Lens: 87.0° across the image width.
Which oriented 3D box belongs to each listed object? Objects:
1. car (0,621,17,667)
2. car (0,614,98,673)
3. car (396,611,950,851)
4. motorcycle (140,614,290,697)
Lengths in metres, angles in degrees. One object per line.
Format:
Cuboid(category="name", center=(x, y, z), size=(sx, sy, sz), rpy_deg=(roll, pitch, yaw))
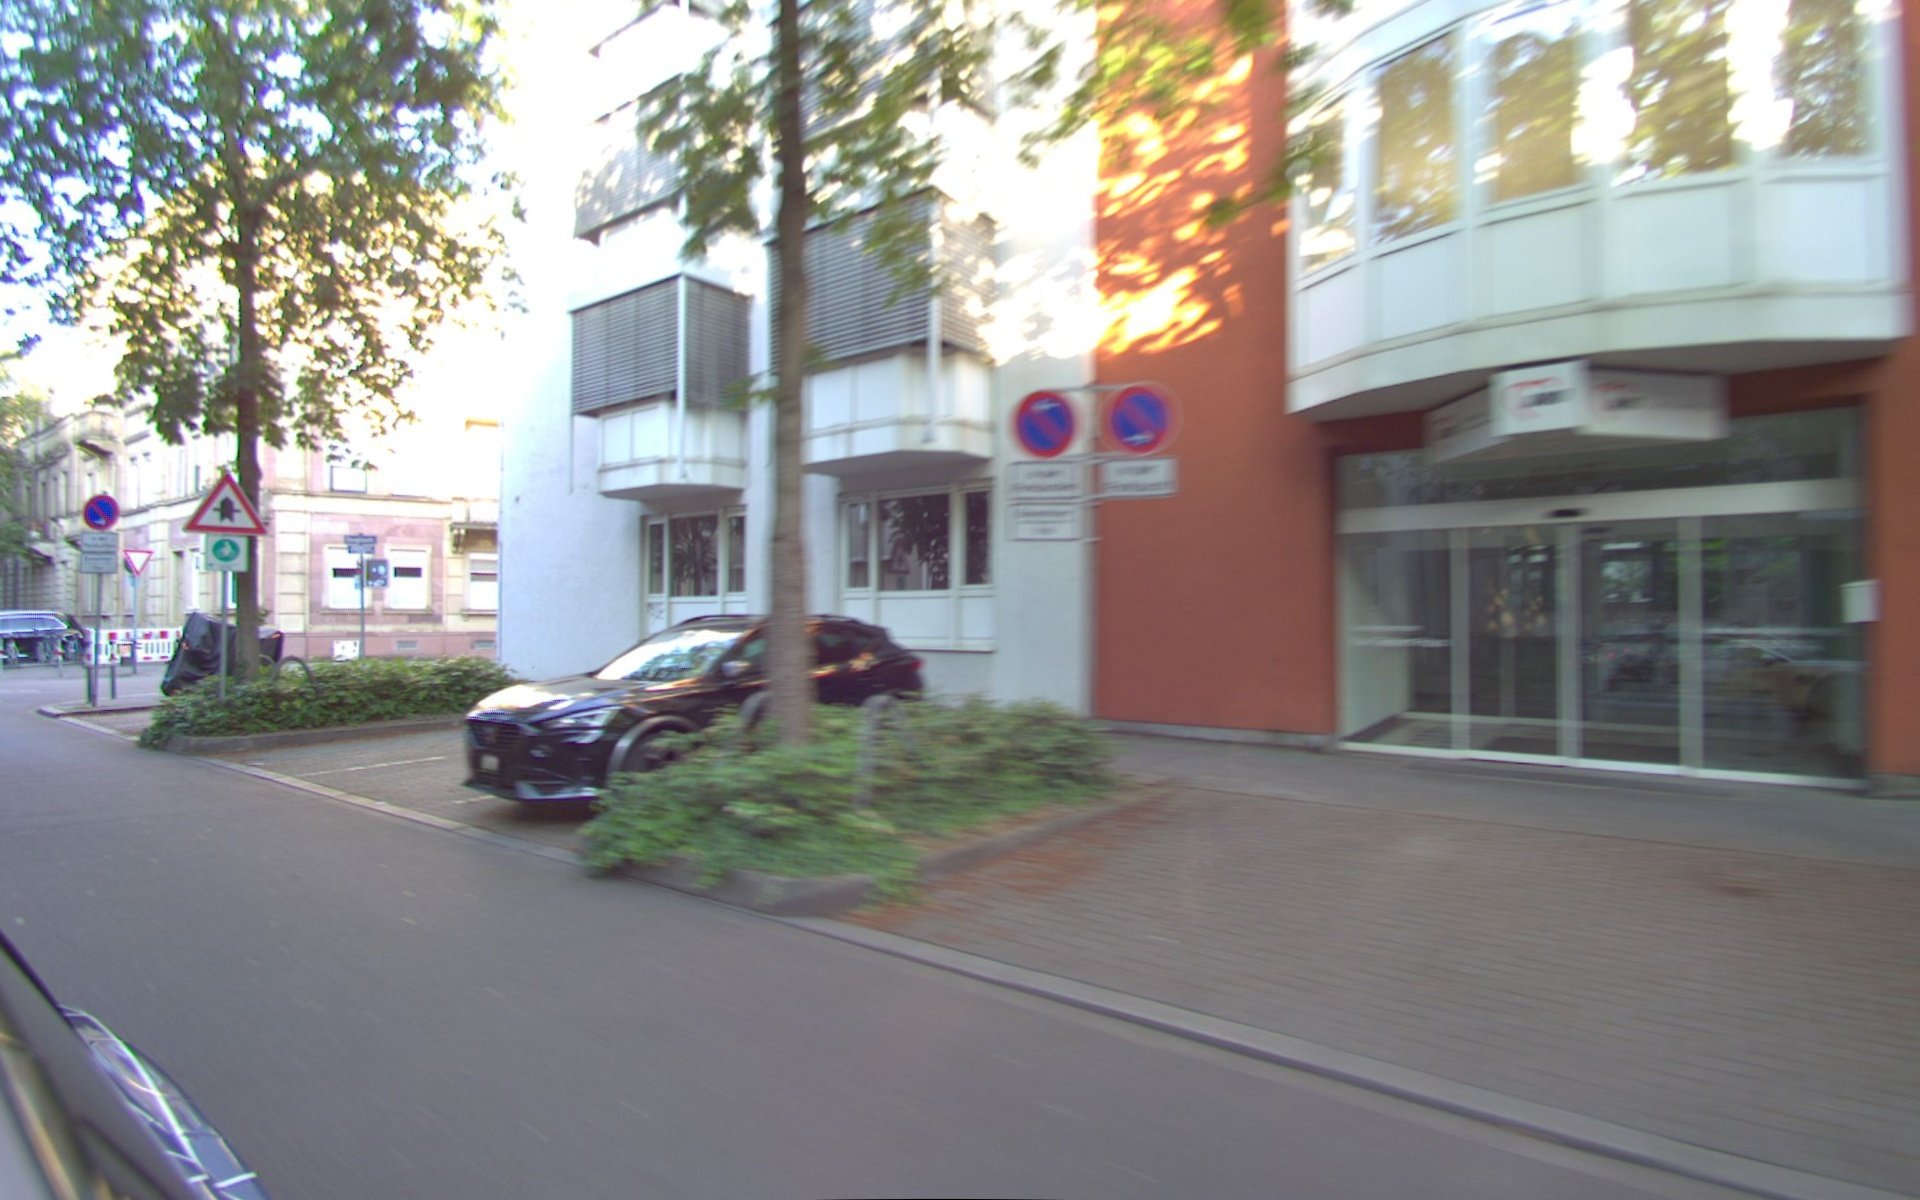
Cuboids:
Cuboid(category="car", center=(-35.647, 1.532, 35.289), size=(3.938, 1.597, 2.003), rpy_deg=(1, -2, -42))
Cuboid(category="car", center=(-29.357, 1.299, 30.797), size=(2.141, 1.748, 4.542), rpy_deg=(-1, -2, 42))
Cuboid(category="car", center=(-2.182, 0.882, 8.864), size=(1.869, 1.537, 4.467), rpy_deg=(-1, -1, 37))
Cuboid(category="motorcycle", center=(-14.068, 1.011, 19.200), size=(0.894, 1.481, 2.221), rpy_deg=(0, -1, 15))
